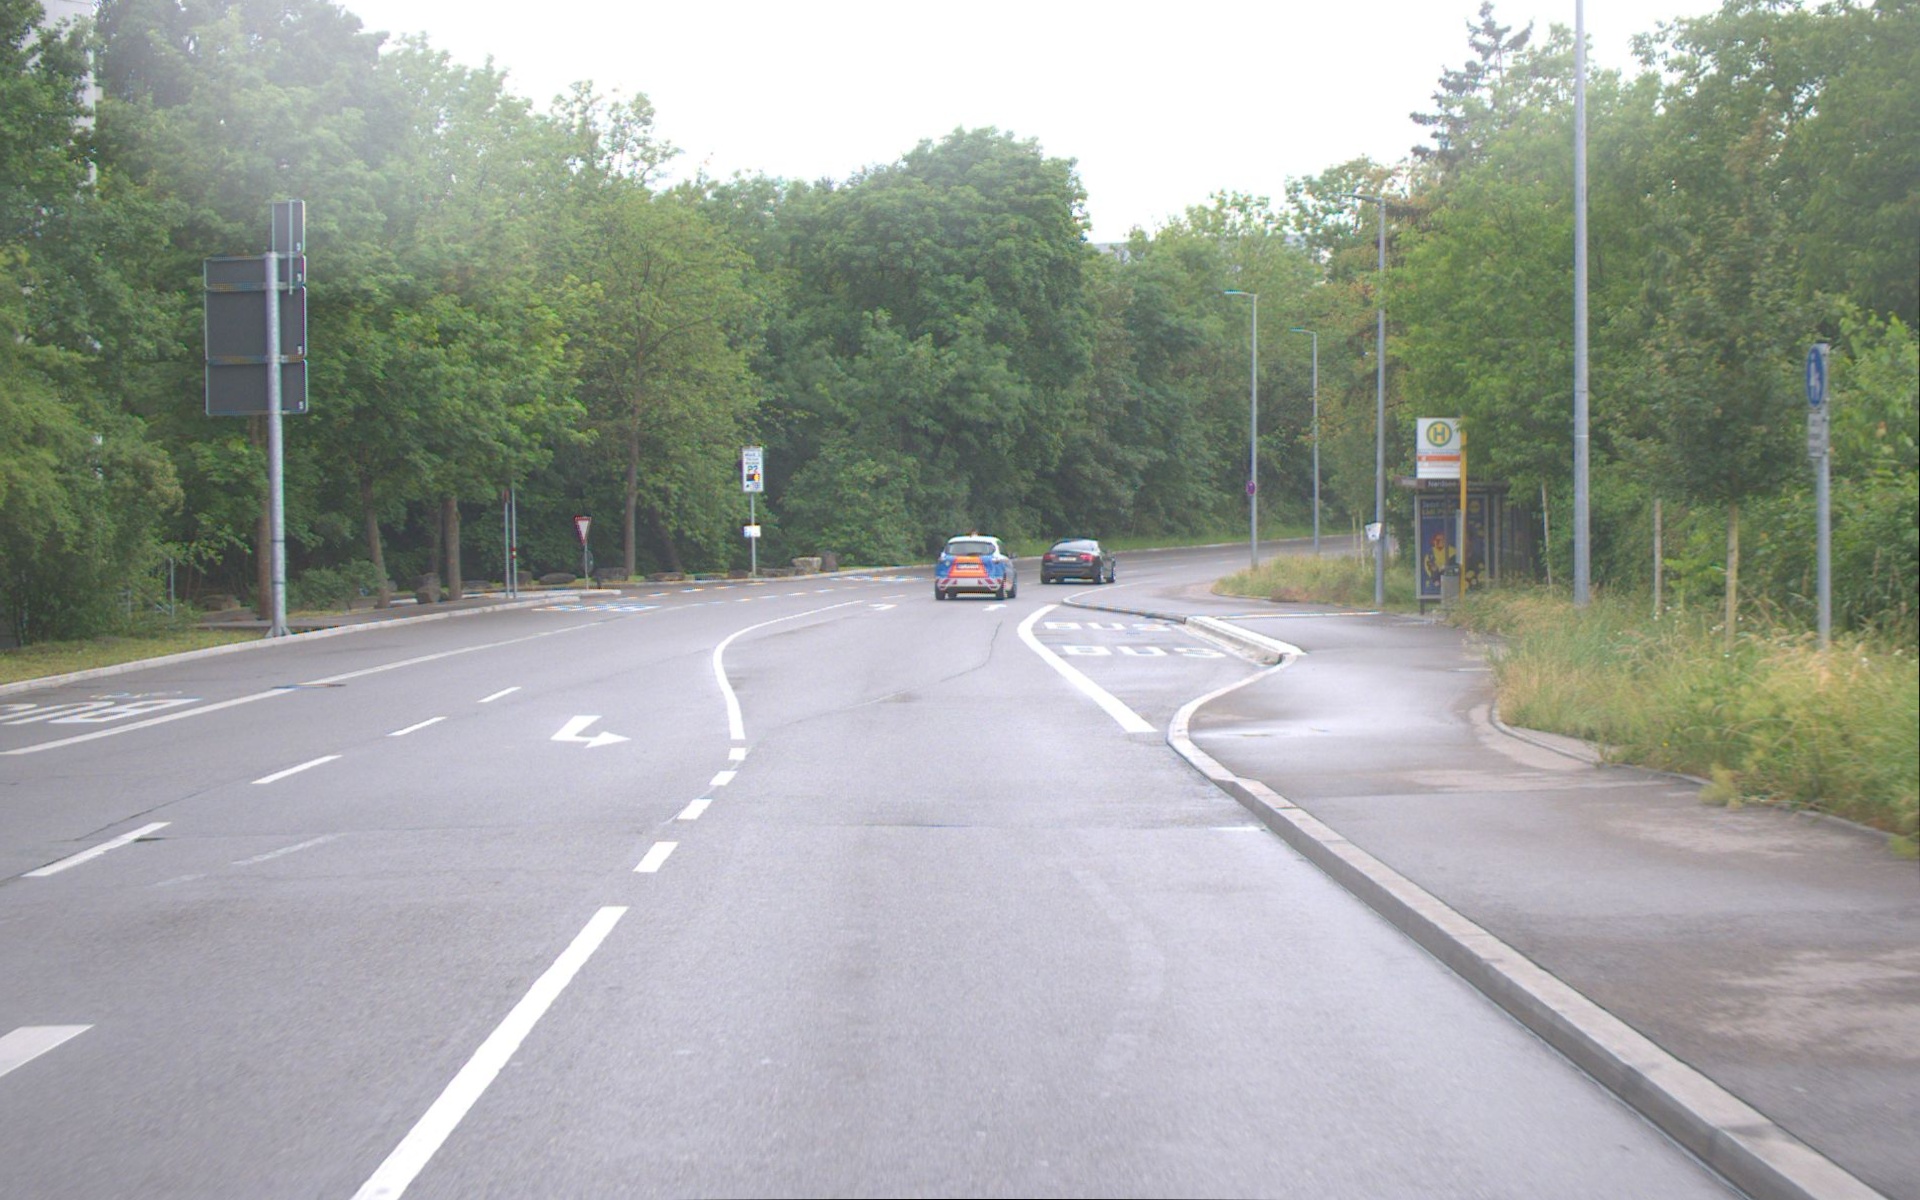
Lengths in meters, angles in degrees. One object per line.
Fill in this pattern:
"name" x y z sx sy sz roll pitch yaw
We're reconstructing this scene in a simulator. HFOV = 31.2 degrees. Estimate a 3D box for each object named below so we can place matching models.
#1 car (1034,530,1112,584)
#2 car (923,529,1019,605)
"car" 3.489 -1.331 105.413 1.928 1.481 3.799 -1 3 8
"car" 0.300 -0.834 85.326 1.994 1.683 4.000 -1 3 5
